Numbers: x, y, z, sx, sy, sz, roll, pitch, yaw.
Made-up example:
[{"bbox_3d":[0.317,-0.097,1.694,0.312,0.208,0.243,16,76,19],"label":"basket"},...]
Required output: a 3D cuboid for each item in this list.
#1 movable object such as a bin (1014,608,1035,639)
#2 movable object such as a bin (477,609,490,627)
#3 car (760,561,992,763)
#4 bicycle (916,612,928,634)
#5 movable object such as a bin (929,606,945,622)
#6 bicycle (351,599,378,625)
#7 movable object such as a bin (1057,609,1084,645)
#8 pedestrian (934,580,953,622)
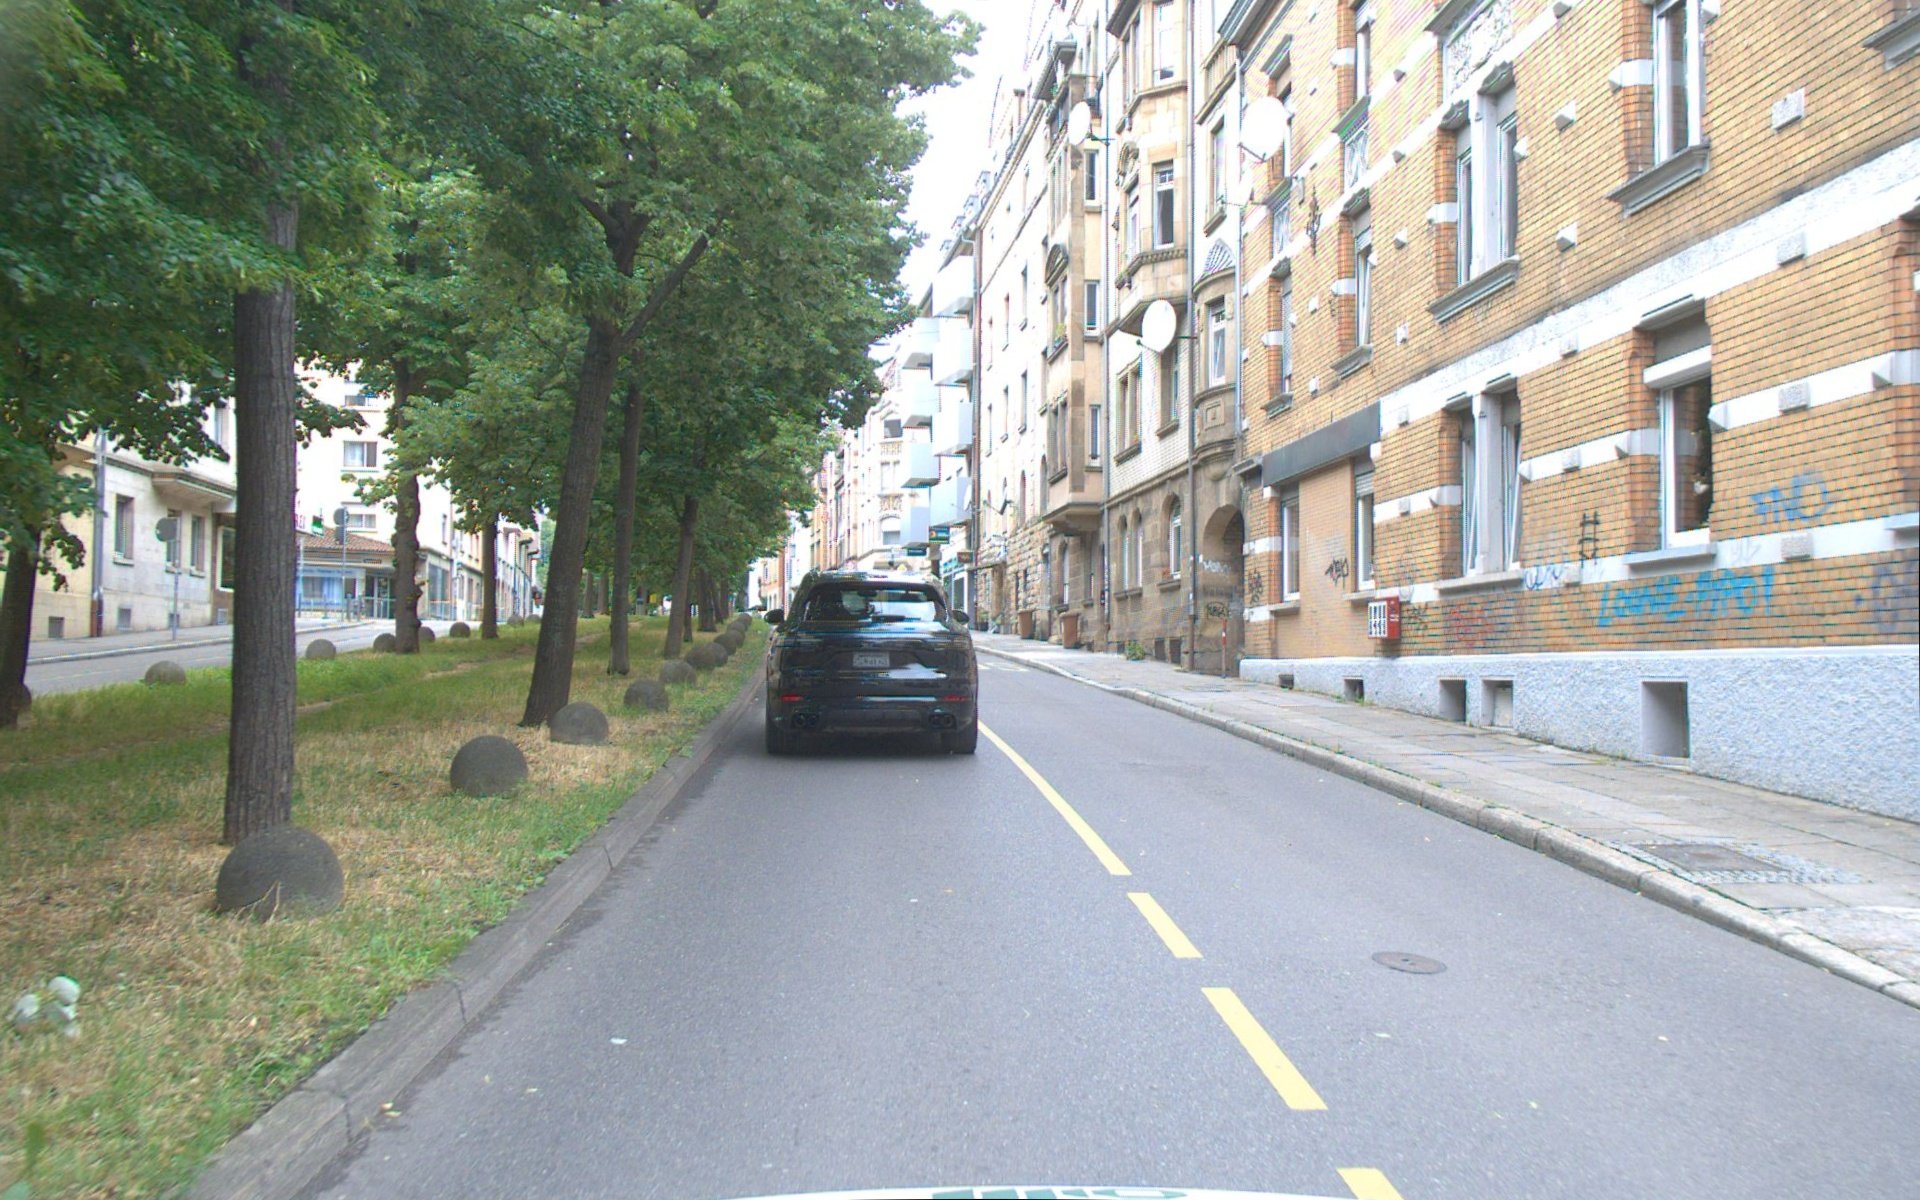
[{"bbox_3d":[2.026,0.727,51.626,0.583,0.920,0.502,1,-4,-6],"label":"movable object such as a bin"},{"bbox_3d":[-29.205,1.124,101.401,0.680,1.078,0.688,2,-3,-13],"label":"movable object such as a bin"},{"bbox_3d":[-0.811,0.514,16.175,1.954,1.694,3.998,1,1,-3],"label":"car"},{"bbox_3d":[-2.328,1.379,100.828,0.438,1.181,1.831,0,4,-9],"label":"bicycle"},{"bbox_3d":[-0.955,0.589,69.823,0.596,0.680,0.857,0,-2,-6],"label":"movable object such as a bin"},{"bbox_3d":[-26.307,0.527,73.050,0.754,1.104,2.017,3,-2,-29],"label":"bicycle"},{"bbox_3d":[2.880,0.710,43.117,0.583,0.920,0.562,1,-1,-6],"label":"movable object such as a bin"},{"bbox_3d":[-0.685,0.045,69.005,0.737,1.722,0.857,0,-2,-6],"label":"pedestrian"}]
